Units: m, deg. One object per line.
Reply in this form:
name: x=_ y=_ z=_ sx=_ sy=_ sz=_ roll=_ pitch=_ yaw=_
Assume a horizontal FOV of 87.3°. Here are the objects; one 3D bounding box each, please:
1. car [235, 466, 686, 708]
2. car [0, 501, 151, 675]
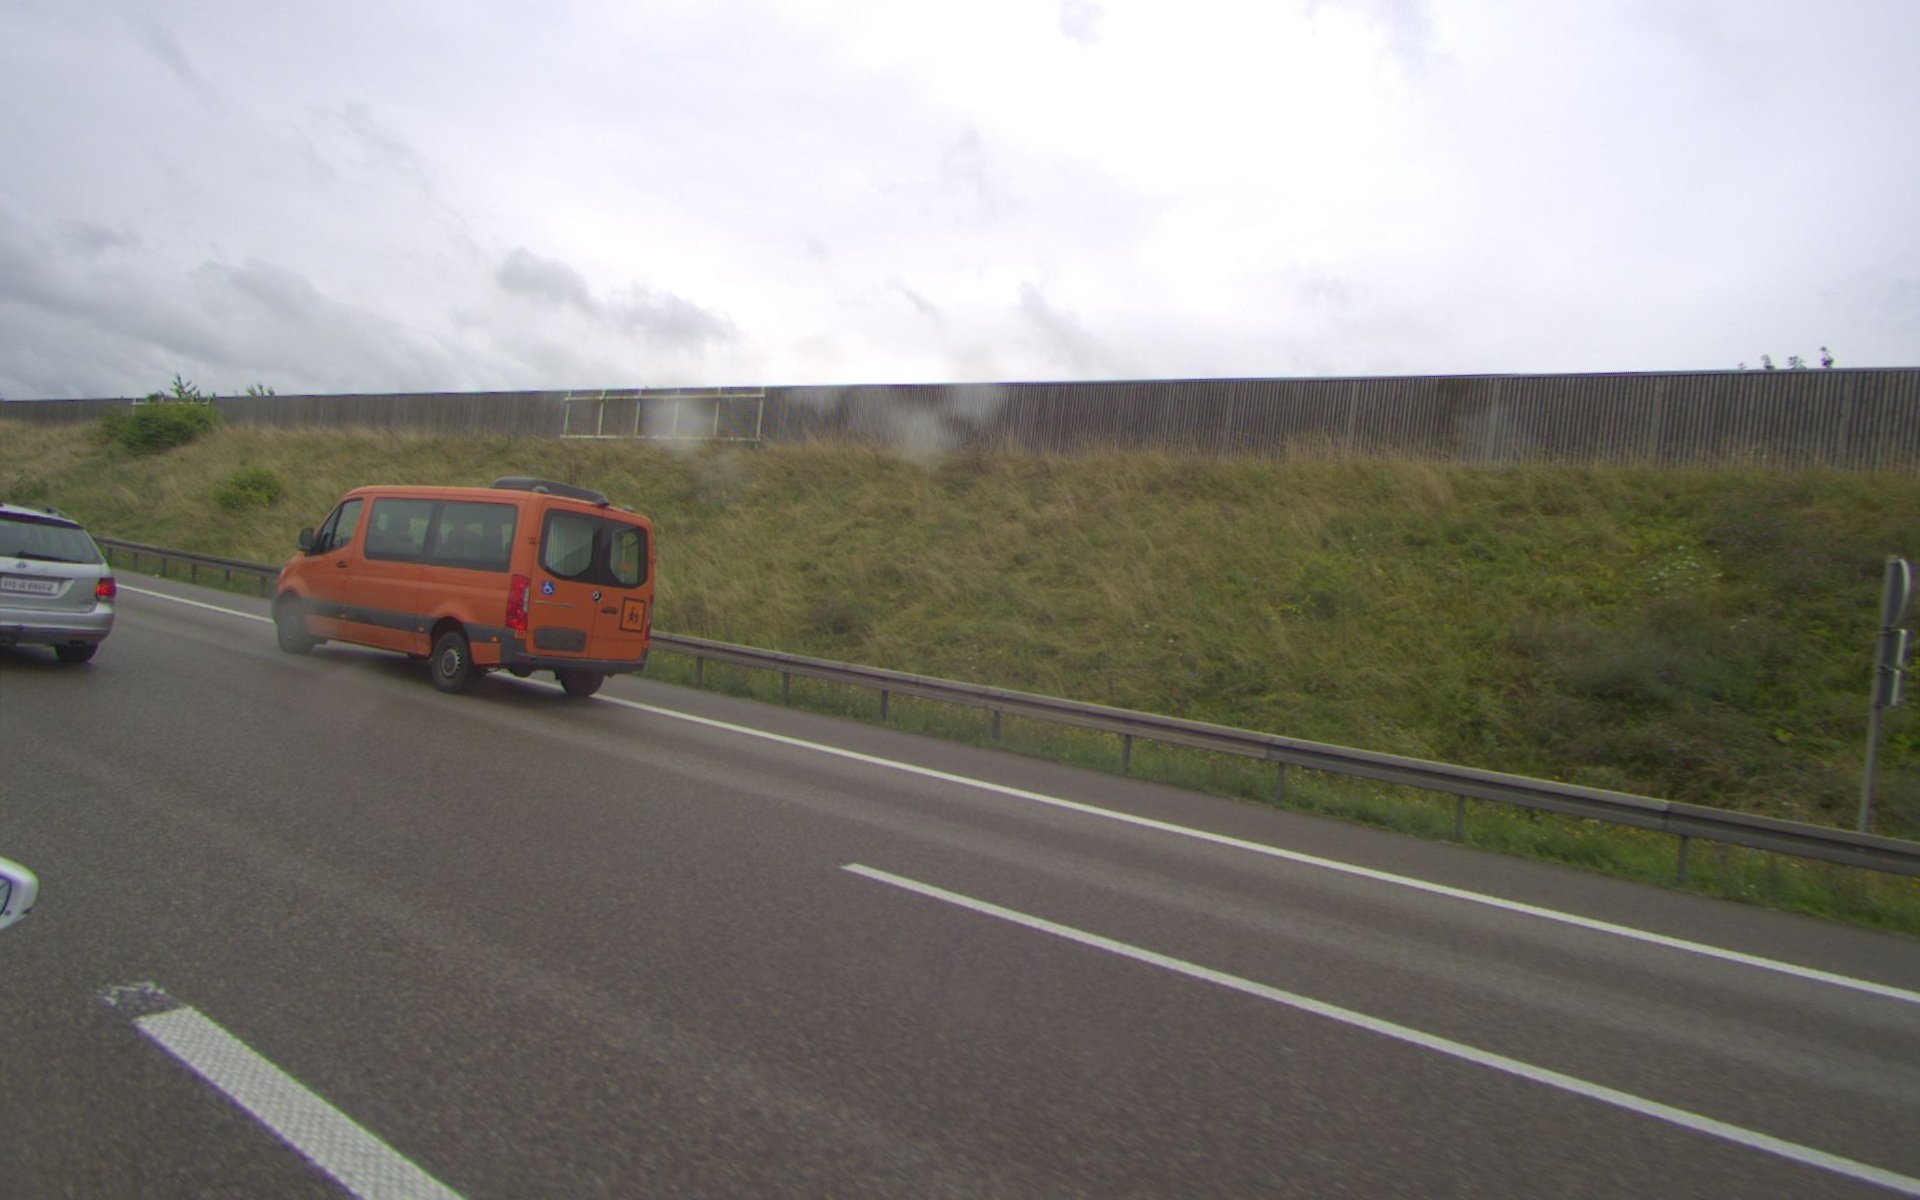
car: x=-6.622 y=-0.257 z=13.048 sx=6.077 sy=2.343 sz=2.089 roll=7 pitch=0 yaw=31
car: x=-9.995 y=-0.301 z=9.856 sx=4.442 sy=1.442 sz=1.744 roll=7 pitch=0 yaw=31
